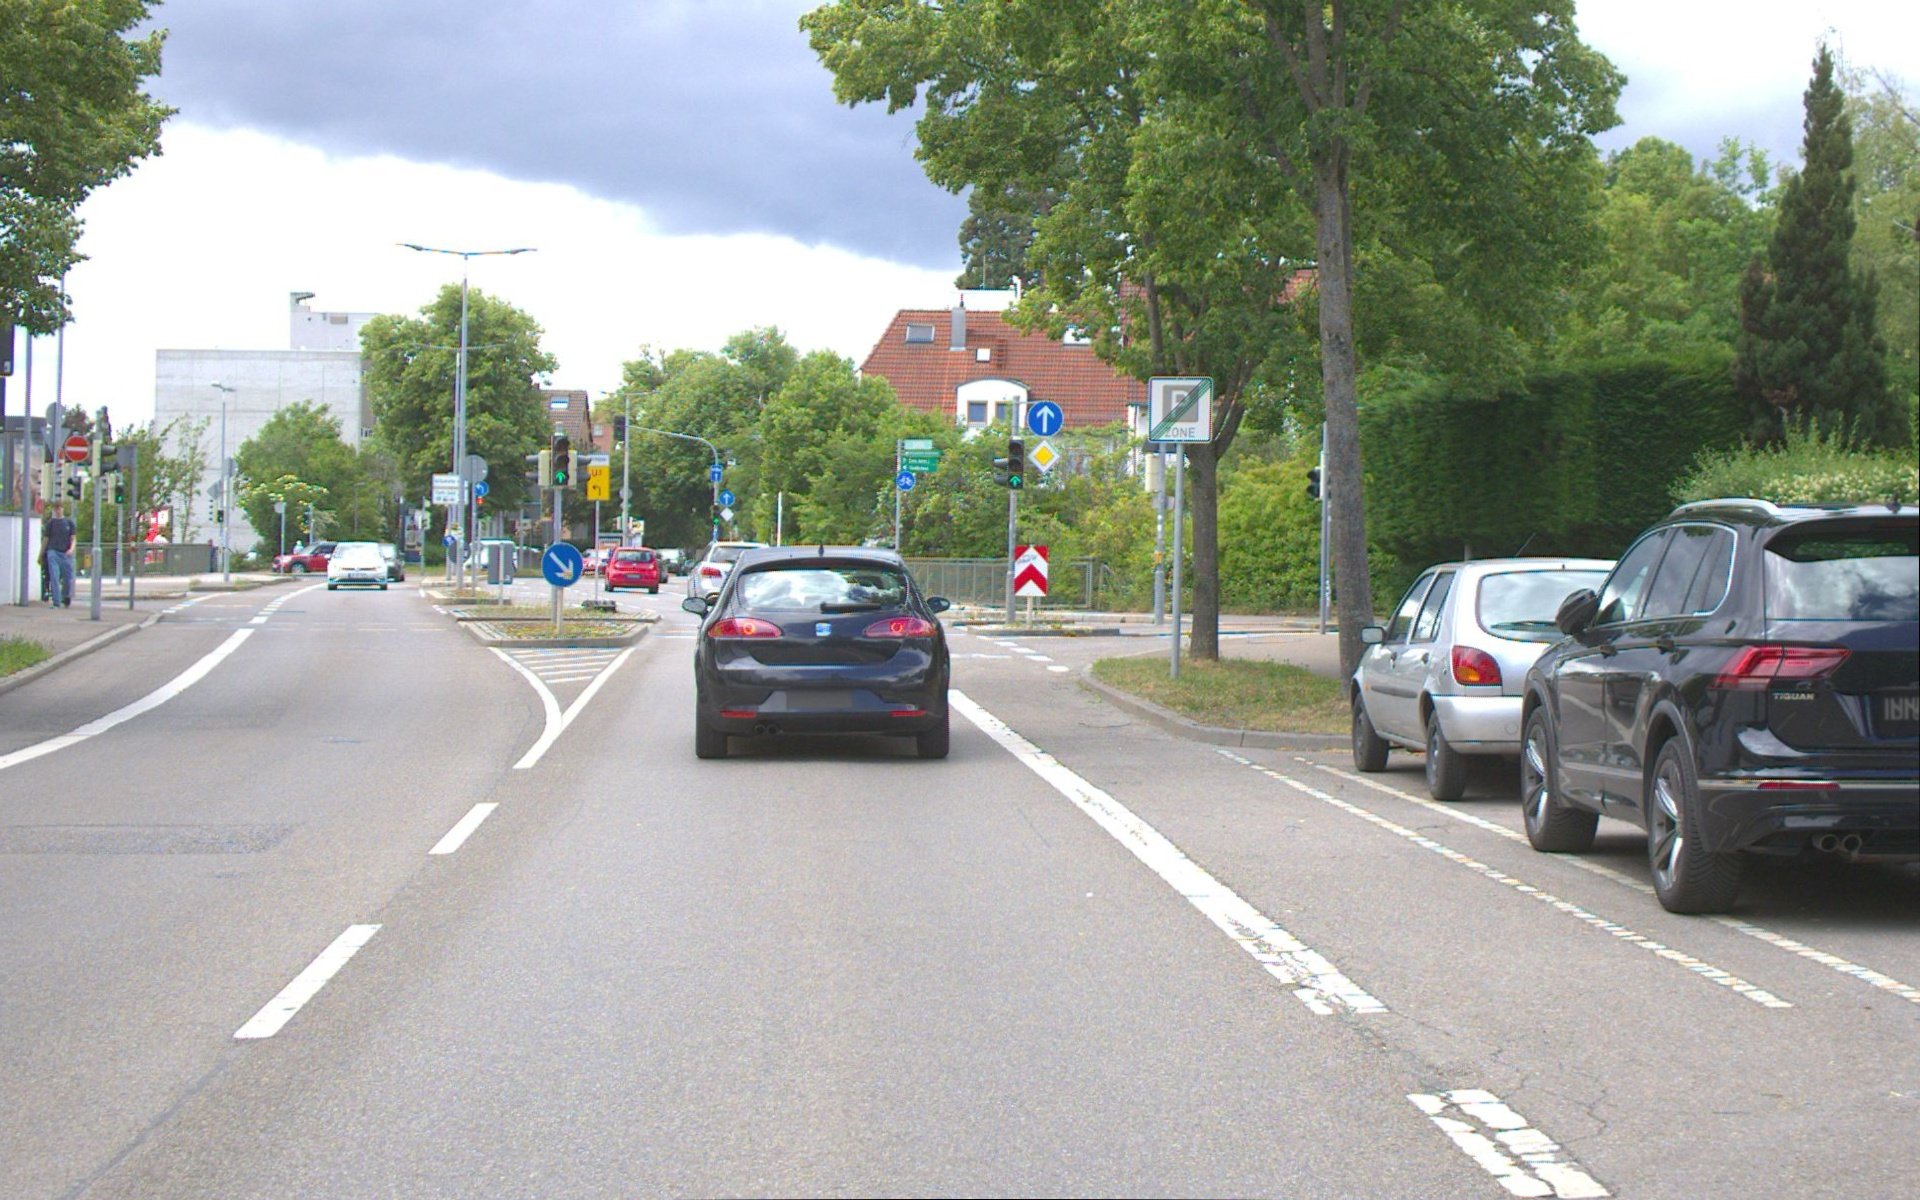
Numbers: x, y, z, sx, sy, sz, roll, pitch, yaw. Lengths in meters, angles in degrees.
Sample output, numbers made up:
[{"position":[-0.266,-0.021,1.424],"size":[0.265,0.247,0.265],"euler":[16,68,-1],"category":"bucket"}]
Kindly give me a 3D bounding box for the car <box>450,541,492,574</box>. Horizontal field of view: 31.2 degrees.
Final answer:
[{"position":[-21.454,-1.867,150.713],"size":[1.642,1.404,3.820],"euler":[1,0,-10],"category":"car"}]

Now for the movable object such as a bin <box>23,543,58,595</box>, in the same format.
[{"position":[-17.727,-0.596,66.314],"size":[0.497,0.957,0.987],"euler":[5,0,-11],"category":"movable object such as a bin"}]

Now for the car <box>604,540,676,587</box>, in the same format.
[{"position":[-10.339,-1.203,111.010],"size":[1.941,1.476,4.254],"euler":[0,1,-10],"category":"car"}]

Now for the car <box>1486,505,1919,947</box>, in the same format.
[{"position":[3.606,0.428,14.989],"size":[1.765,1.630,4.548],"euler":[0,1,-2],"category":"car"}]

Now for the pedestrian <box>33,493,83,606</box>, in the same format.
[{"position":[-15.783,-0.881,60.185],"size":[0.648,1.941,0.872],"euler":[3,0,-8],"category":"pedestrian"}]

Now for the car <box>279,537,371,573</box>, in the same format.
[{"position":[-29.098,-2.058,157.555],"size":[3.986,1.547,1.750],"euler":[1,1,-16],"category":"car"}]

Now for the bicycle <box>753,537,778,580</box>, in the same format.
[{"position":[-6.893,-1.477,121.853],"size":[0.891,1.505,2.783],"euler":[0,1,-3],"category":"bicycle"}]

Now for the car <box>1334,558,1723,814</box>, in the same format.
[{"position":[3.318,0.450,20.652],"size":[1.557,1.346,3.541],"euler":[-1,1,-3],"category":"car"}]

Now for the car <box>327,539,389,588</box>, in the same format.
[{"position":[-18.205,-1.104,103.851],"size":[1.798,1.439,3.950],"euler":[0,1,-10],"category":"car"}]

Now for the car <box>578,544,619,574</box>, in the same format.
[{"position":[-18.206,-2.058,173.141],"size":[1.720,1.443,4.068],"euler":[1,0,-10],"category":"car"}]

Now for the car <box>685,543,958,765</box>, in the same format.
[{"position":[-1.055,0.325,24.379],"size":[1.759,1.444,3.715],"euler":[0,1,-5],"category":"car"}]

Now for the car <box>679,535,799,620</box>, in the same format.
[{"position":[-4.579,-0.488,70.704],"size":[1.818,1.693,4.254],"euler":[0,1,-12],"category":"car"}]
